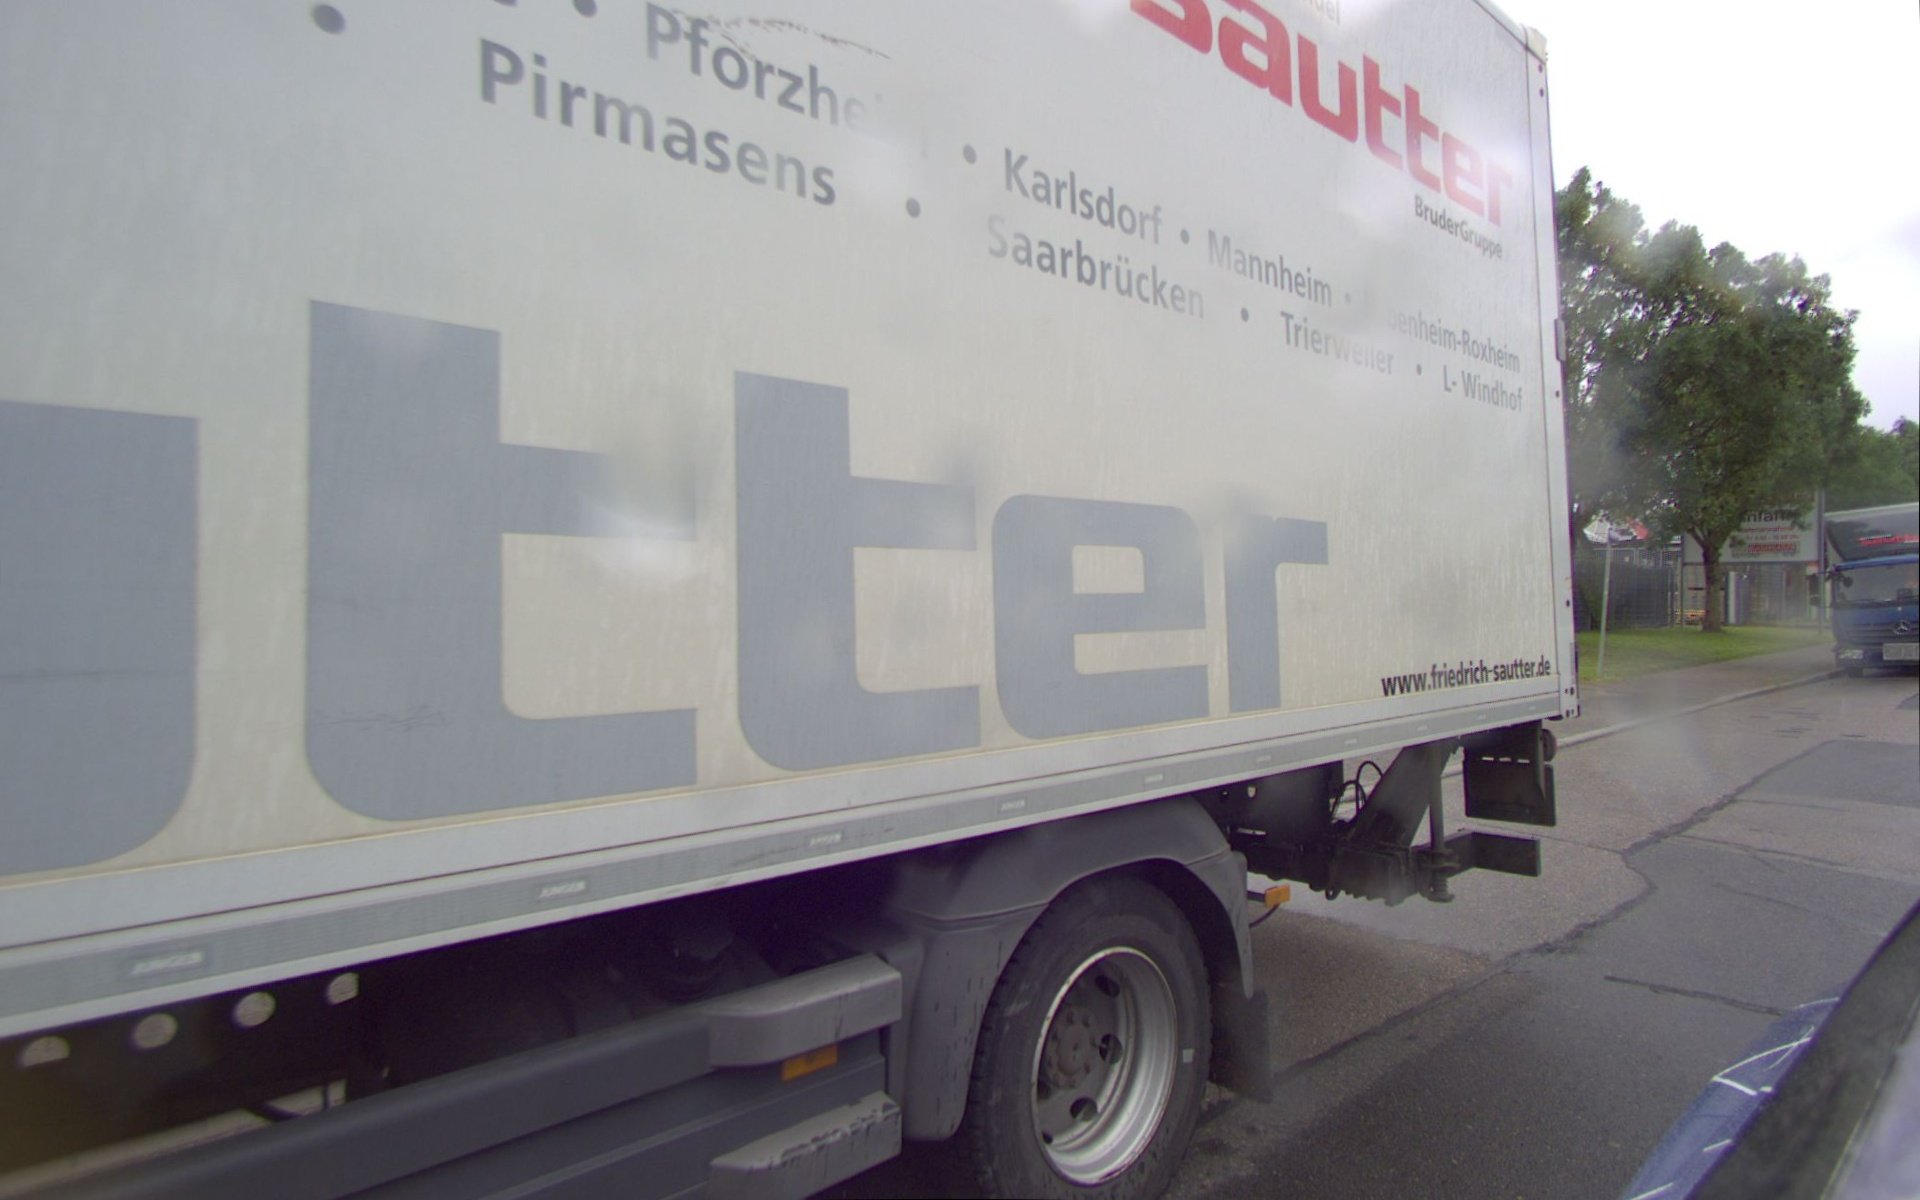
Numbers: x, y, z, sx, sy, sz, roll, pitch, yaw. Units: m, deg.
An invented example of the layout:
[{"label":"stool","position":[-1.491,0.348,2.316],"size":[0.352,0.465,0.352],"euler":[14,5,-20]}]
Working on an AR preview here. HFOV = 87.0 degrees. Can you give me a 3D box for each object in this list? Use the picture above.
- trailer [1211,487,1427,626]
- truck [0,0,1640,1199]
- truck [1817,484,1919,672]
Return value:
[{"label":"trailer","position":[12.766,-1.387,35.367],"size":[9.307,4.296,2.971],"euler":[0,1,-41]},{"label":"truck","position":[-1.550,-0.427,2.357],"size":[9.135,3.838,2.745],"euler":[0,-2,-40]},{"label":"truck","position":[21.908,-0.446,22.812],"size":[7.869,3.740,2.675],"euler":[0,-2,-41]}]
